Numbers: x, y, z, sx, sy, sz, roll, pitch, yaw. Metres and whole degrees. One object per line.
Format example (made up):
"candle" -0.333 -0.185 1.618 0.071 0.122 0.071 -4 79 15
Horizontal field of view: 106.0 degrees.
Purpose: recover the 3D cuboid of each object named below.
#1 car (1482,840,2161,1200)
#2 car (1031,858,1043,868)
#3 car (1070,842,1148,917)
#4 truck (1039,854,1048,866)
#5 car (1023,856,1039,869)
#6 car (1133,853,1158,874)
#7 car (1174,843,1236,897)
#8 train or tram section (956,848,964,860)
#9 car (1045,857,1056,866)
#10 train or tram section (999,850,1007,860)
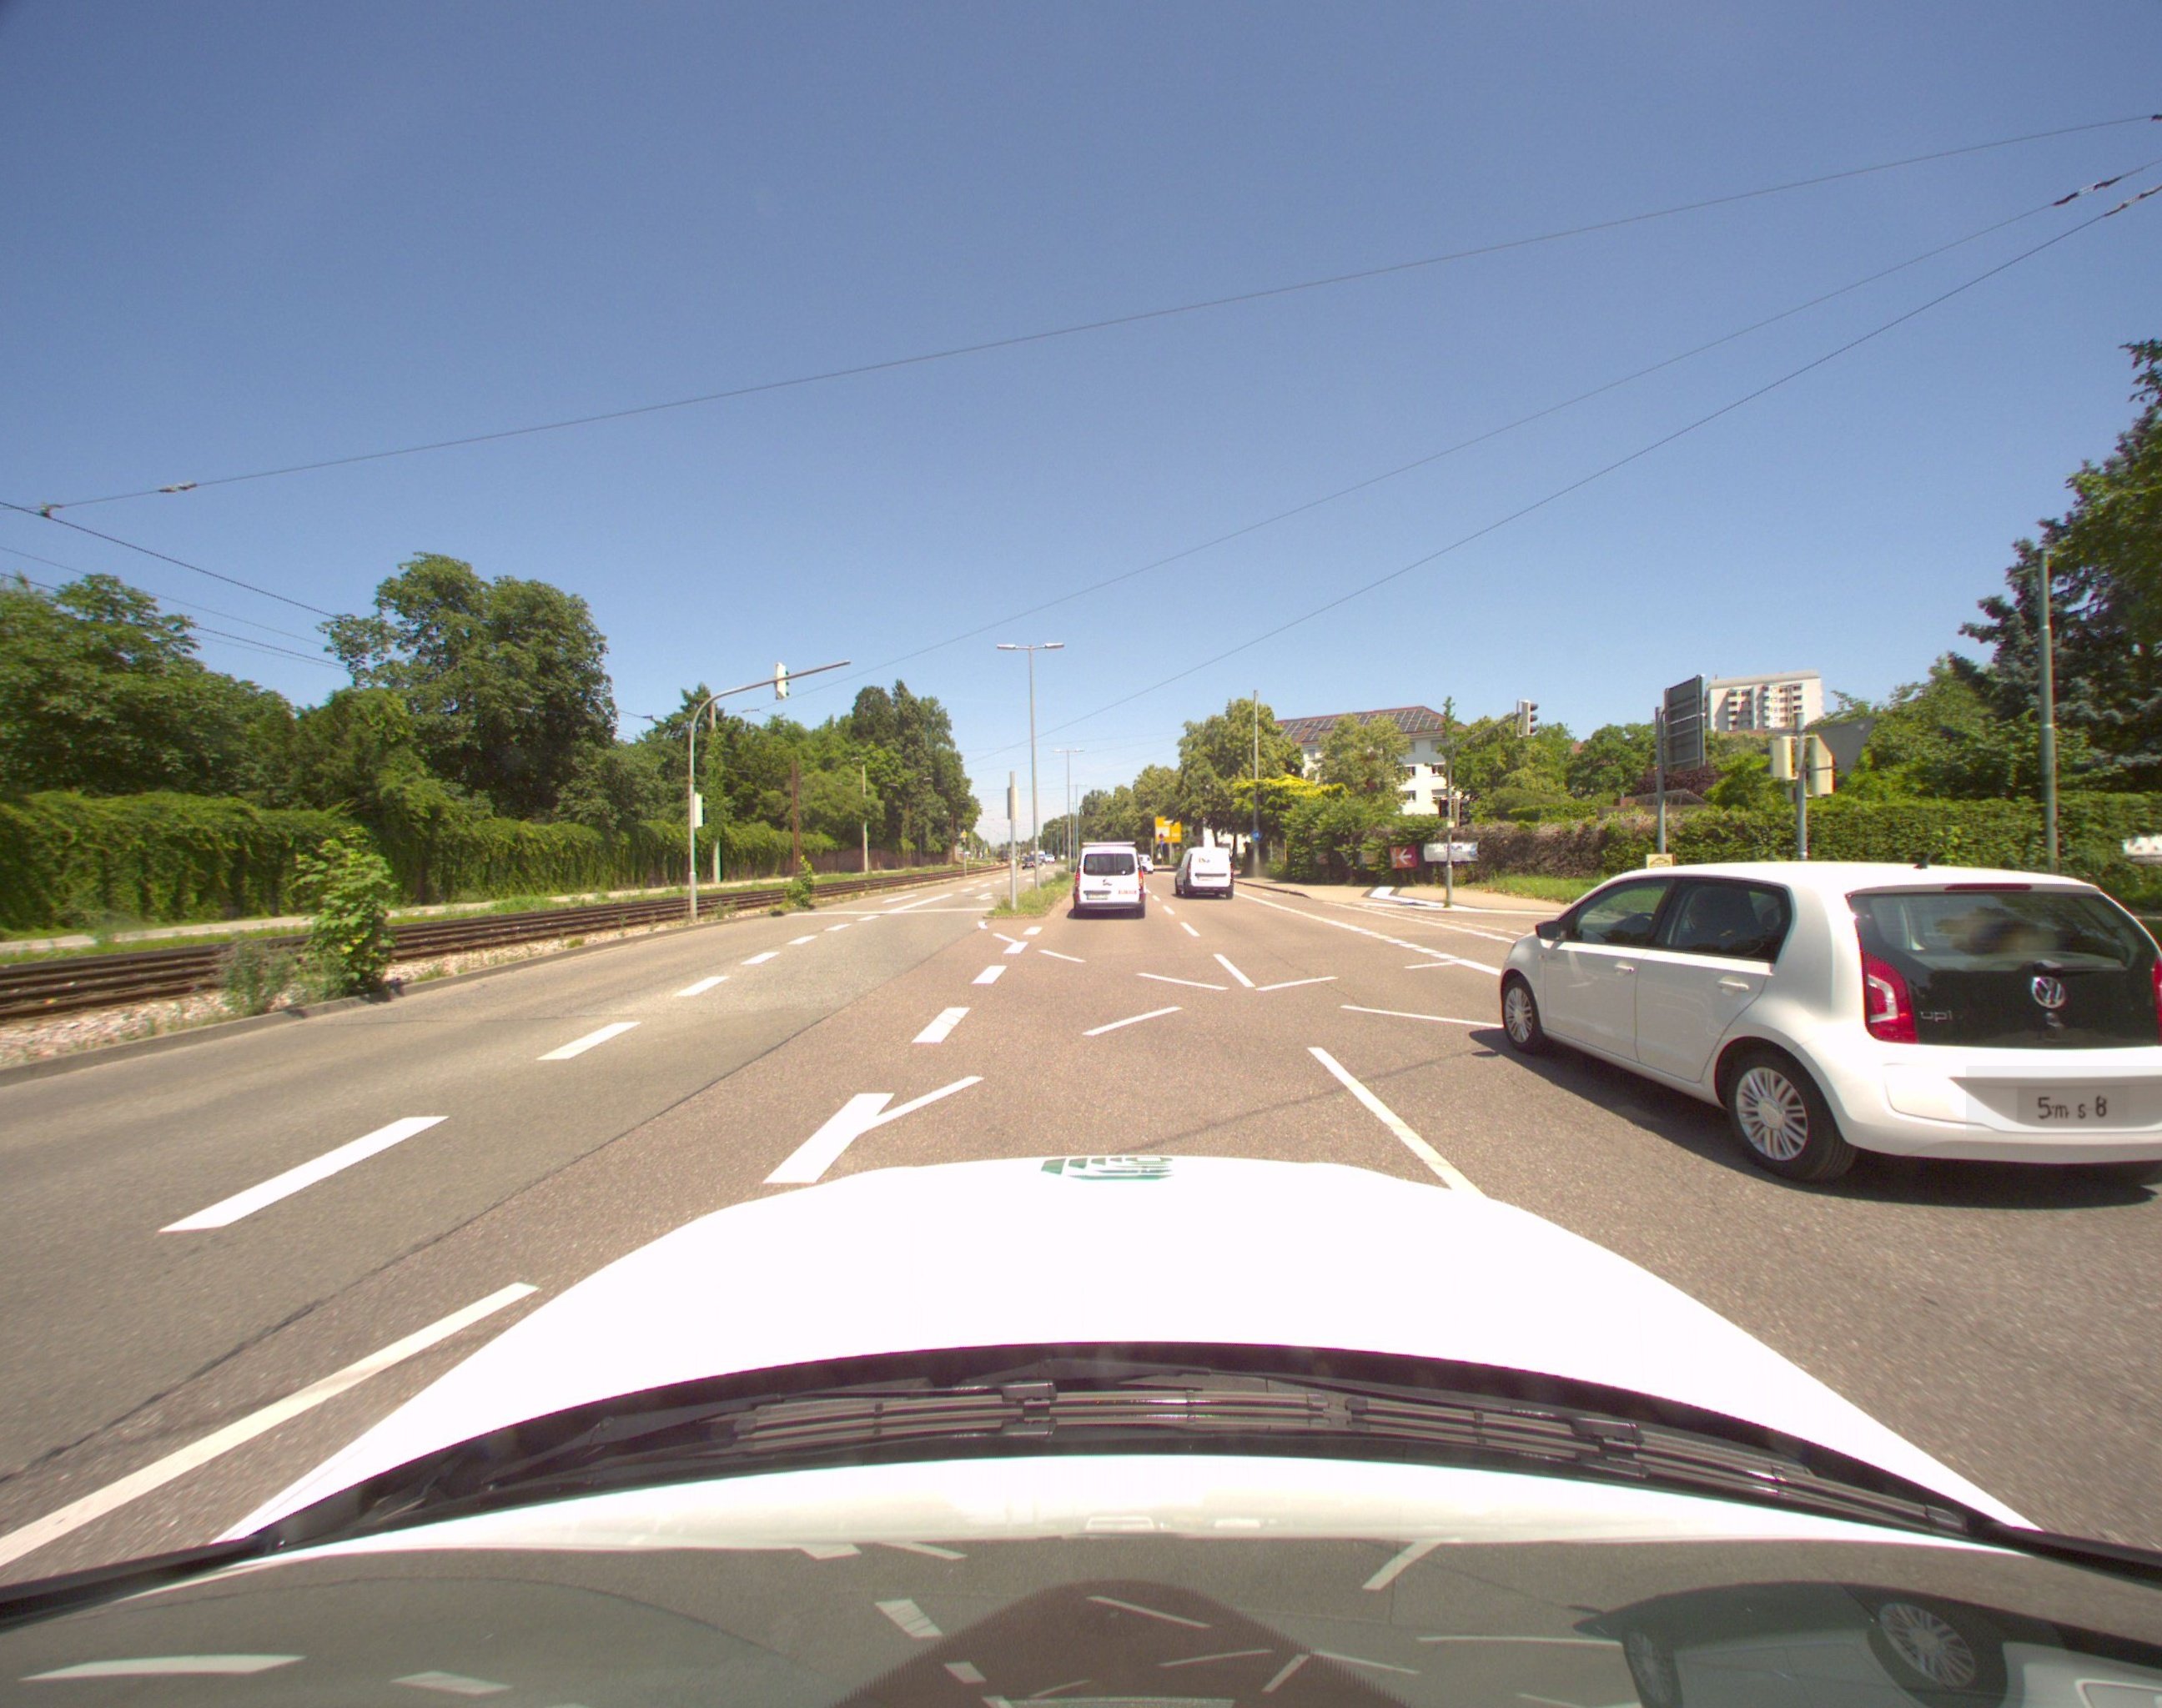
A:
"car" 4.063 0.663 5.034 1.603 1.447 3.438 1 0 3
"car" -7.251 1.476 135.004 1.692 1.439 3.999 -2 0 0
"car" 0.746 0.597 21.395 1.814 1.739 4.398 0 0 2
"truck" -10.093 1.537 219.919 1.986 3.213 5.313 -1 0 1
"car" -6.029 1.039 98.860 1.692 1.512 4.065 -1 0 0
"car" 5.129 0.703 65.022 1.828 1.568 4.002 1 0 2
"car" 4.441 0.551 29.593 1.721 1.788 4.065 1 0 1
"train or tram section" -38.402 0.071 259.053 1.992 3.524 16.126 1 0 -7
"car" -6.521 1.587 173.150 1.986 1.816 4.001 -1 0 1
"train or tram section" -24.823 0.466 259.707 1.992 3.086 16.126 1 0 -7
